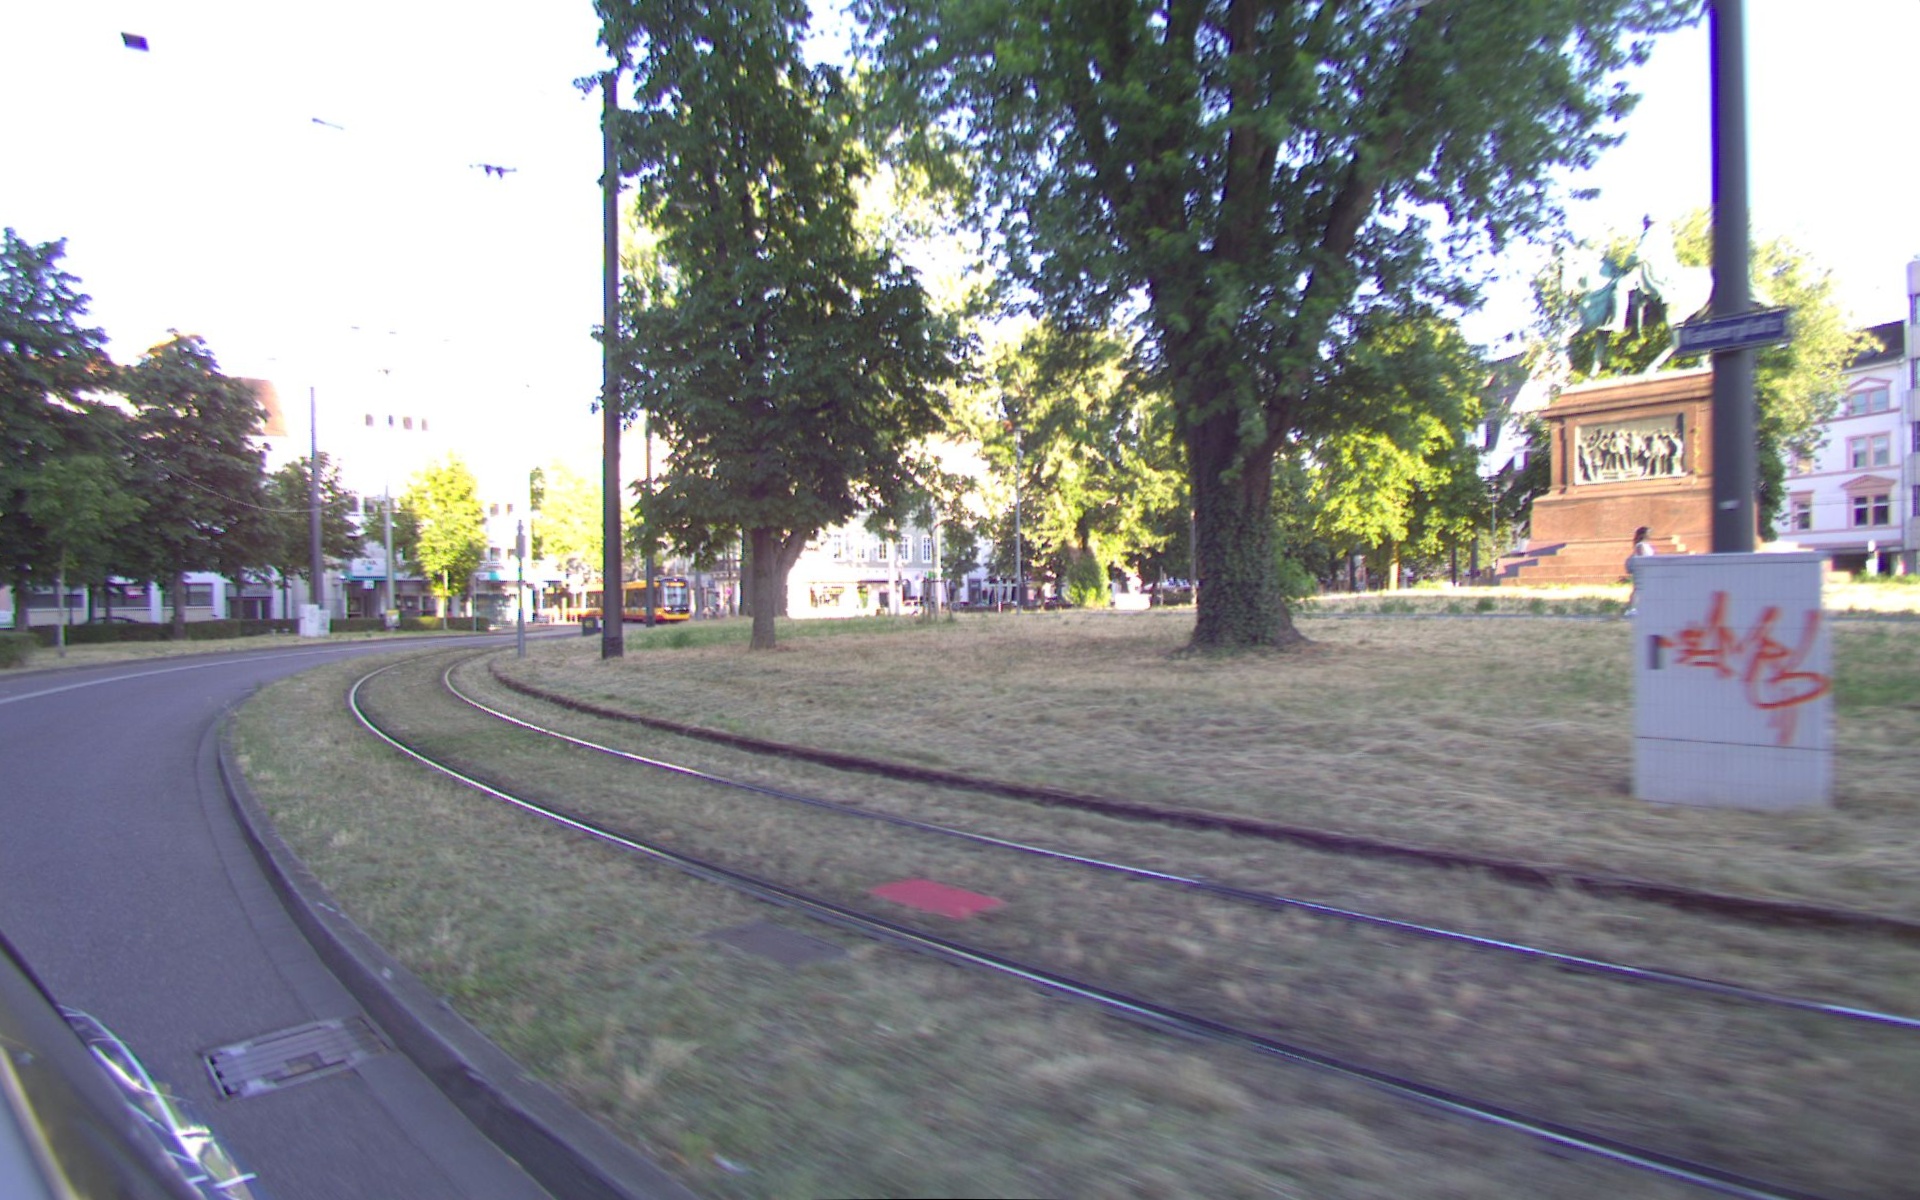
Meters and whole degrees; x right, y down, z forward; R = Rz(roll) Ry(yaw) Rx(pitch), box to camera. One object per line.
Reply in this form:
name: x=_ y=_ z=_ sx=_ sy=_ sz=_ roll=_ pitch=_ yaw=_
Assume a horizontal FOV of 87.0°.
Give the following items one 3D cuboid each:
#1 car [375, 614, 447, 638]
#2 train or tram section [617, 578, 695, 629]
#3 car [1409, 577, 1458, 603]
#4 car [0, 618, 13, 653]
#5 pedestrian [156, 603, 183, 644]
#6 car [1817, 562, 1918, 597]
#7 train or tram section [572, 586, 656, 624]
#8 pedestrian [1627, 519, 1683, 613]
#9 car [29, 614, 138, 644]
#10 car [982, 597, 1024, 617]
car: x=-36.631 y=1.734 z=67.547 sx=3.938 sy=1.461 sz=1.851 roll=-1 pitch=-1 yaw=-42
train or tram section: x=-24.000 y=0.250 z=79.293 sx=2.900 sy=3.611 sz=13.409 roll=-1 pitch=0 yaw=-29
car: x=39.114 y=-0.844 z=83.522 sx=3.935 sy=2.029 sz=2.004 roll=-1 pitch=-1 yaw=-37
car: x=-49.697 y=1.825 z=50.152 sx=3.952 sy=1.738 sz=1.704 roll=-1 pitch=-2 yaw=-42
pedestrian: x=-32.685 y=0.969 z=41.837 sx=0.606 sy=1.638 sz=0.649 roll=-2 pitch=-1 yaw=7
car: x=55.290 y=-1.209 z=61.769 sx=1.730 sy=1.959 sz=4.222 roll=-1 pitch=-1 yaw=-17
train or tram section: x=-30.949 y=0.461 z=90.065 sx=2.885 sy=3.165 sz=12.881 roll=-1 pitch=1 yaw=-39
pedestrian: x=13.038 y=-0.624 z=18.989 sx=0.834 sy=1.703 sz=0.470 roll=-1 pitch=-1 yaw=36
car: x=-46.054 y=1.493 z=53.269 sx=4.256 sy=1.421 sz=1.809 roll=-1 pitch=1 yaw=-42
car: x=4.279 y=0.687 z=100.591 sx=3.940 sy=1.918 sz=2.002 roll=0 pitch=-2 yaw=-44
